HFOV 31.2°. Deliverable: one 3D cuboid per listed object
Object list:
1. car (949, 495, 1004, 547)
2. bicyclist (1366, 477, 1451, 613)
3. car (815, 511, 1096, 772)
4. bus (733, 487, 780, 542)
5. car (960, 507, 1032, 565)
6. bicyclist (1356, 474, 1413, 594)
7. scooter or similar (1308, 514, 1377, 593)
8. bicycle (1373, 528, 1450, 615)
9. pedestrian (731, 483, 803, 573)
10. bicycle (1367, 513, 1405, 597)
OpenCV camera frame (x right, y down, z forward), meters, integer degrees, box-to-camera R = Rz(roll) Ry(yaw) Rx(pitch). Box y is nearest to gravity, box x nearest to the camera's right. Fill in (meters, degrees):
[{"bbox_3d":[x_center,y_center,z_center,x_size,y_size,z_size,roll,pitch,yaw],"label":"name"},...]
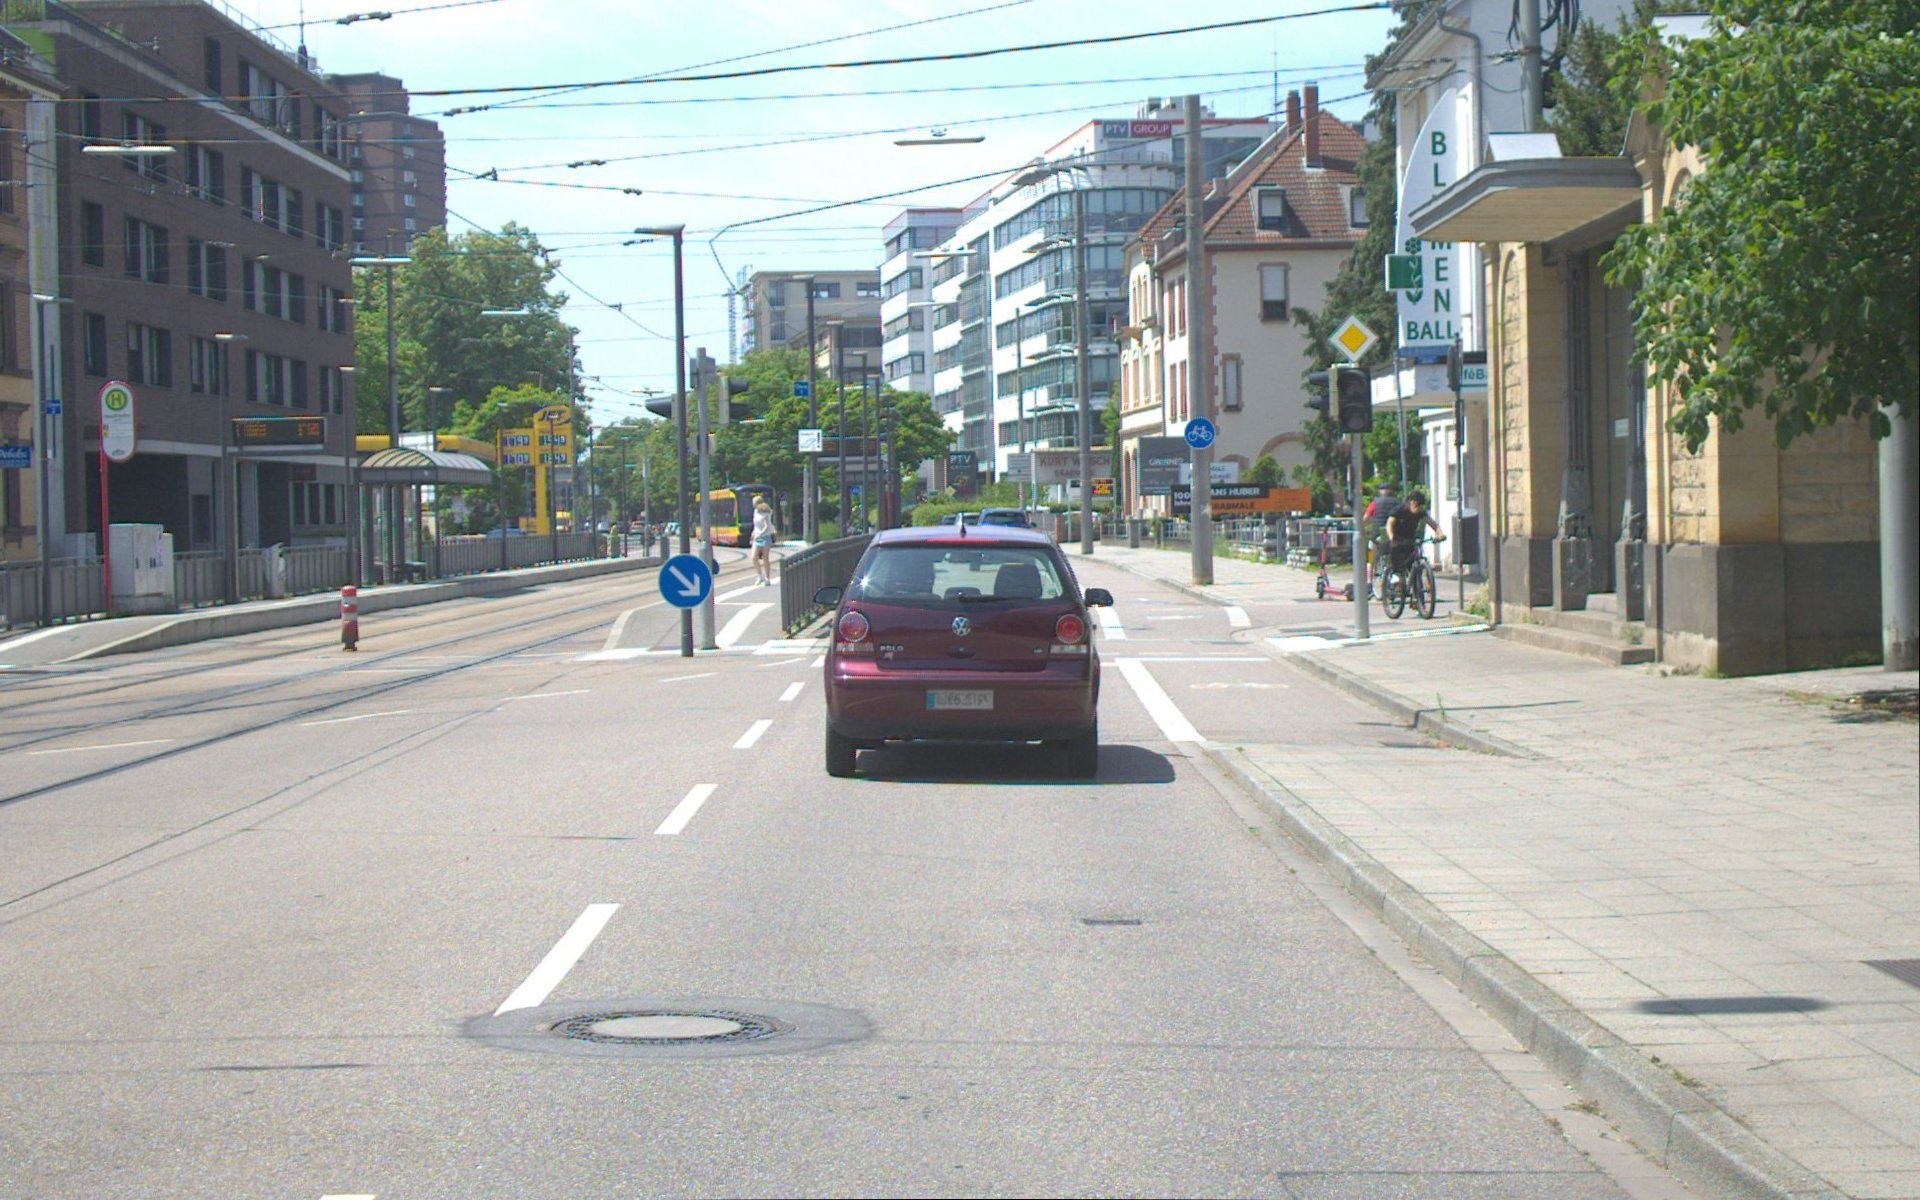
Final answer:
[{"bbox_3d":[0.608,-2.956,127.589,1.993,1.842,4.000,-1,2,0],"label":"car"},{"bbox_3d":[5.594,-0.690,42.945,0.832,1.612,0.860,-5,2,1],"label":"bicyclist"},{"bbox_3d":[-0.032,0.195,21.009,1.561,1.448,3.062,-1,1,0],"label":"car"},{"bbox_3d":[-11.330,-4.744,191.084,2.144,2.992,6.575,-1,1,-7],"label":"bus"},{"bbox_3d":[1.031,-1.895,101.023,1.993,1.619,4.632,-1,1,0],"label":"car"},{"bbox_3d":[6.283,-0.981,50.842,0.727,1.754,0.923,-1,2,11],"label":"bicyclist"},{"bbox_3d":[5.797,-0.704,52.185,0.339,1.173,1.468,-2,1,-23],"label":"scooter or similar"},{"bbox_3d":[5.627,-0.373,42.905,0.668,0.999,1.863,-5,1,1],"label":"bicycle"},{"bbox_3d":[-3.620,-1.352,64.472,1.097,1.669,0.765,-2,2,-45],"label":"pedestrian"},{"bbox_3d":[6.302,-0.680,50.788,0.375,1.193,1.904,-1,2,12],"label":"bicycle"}]
